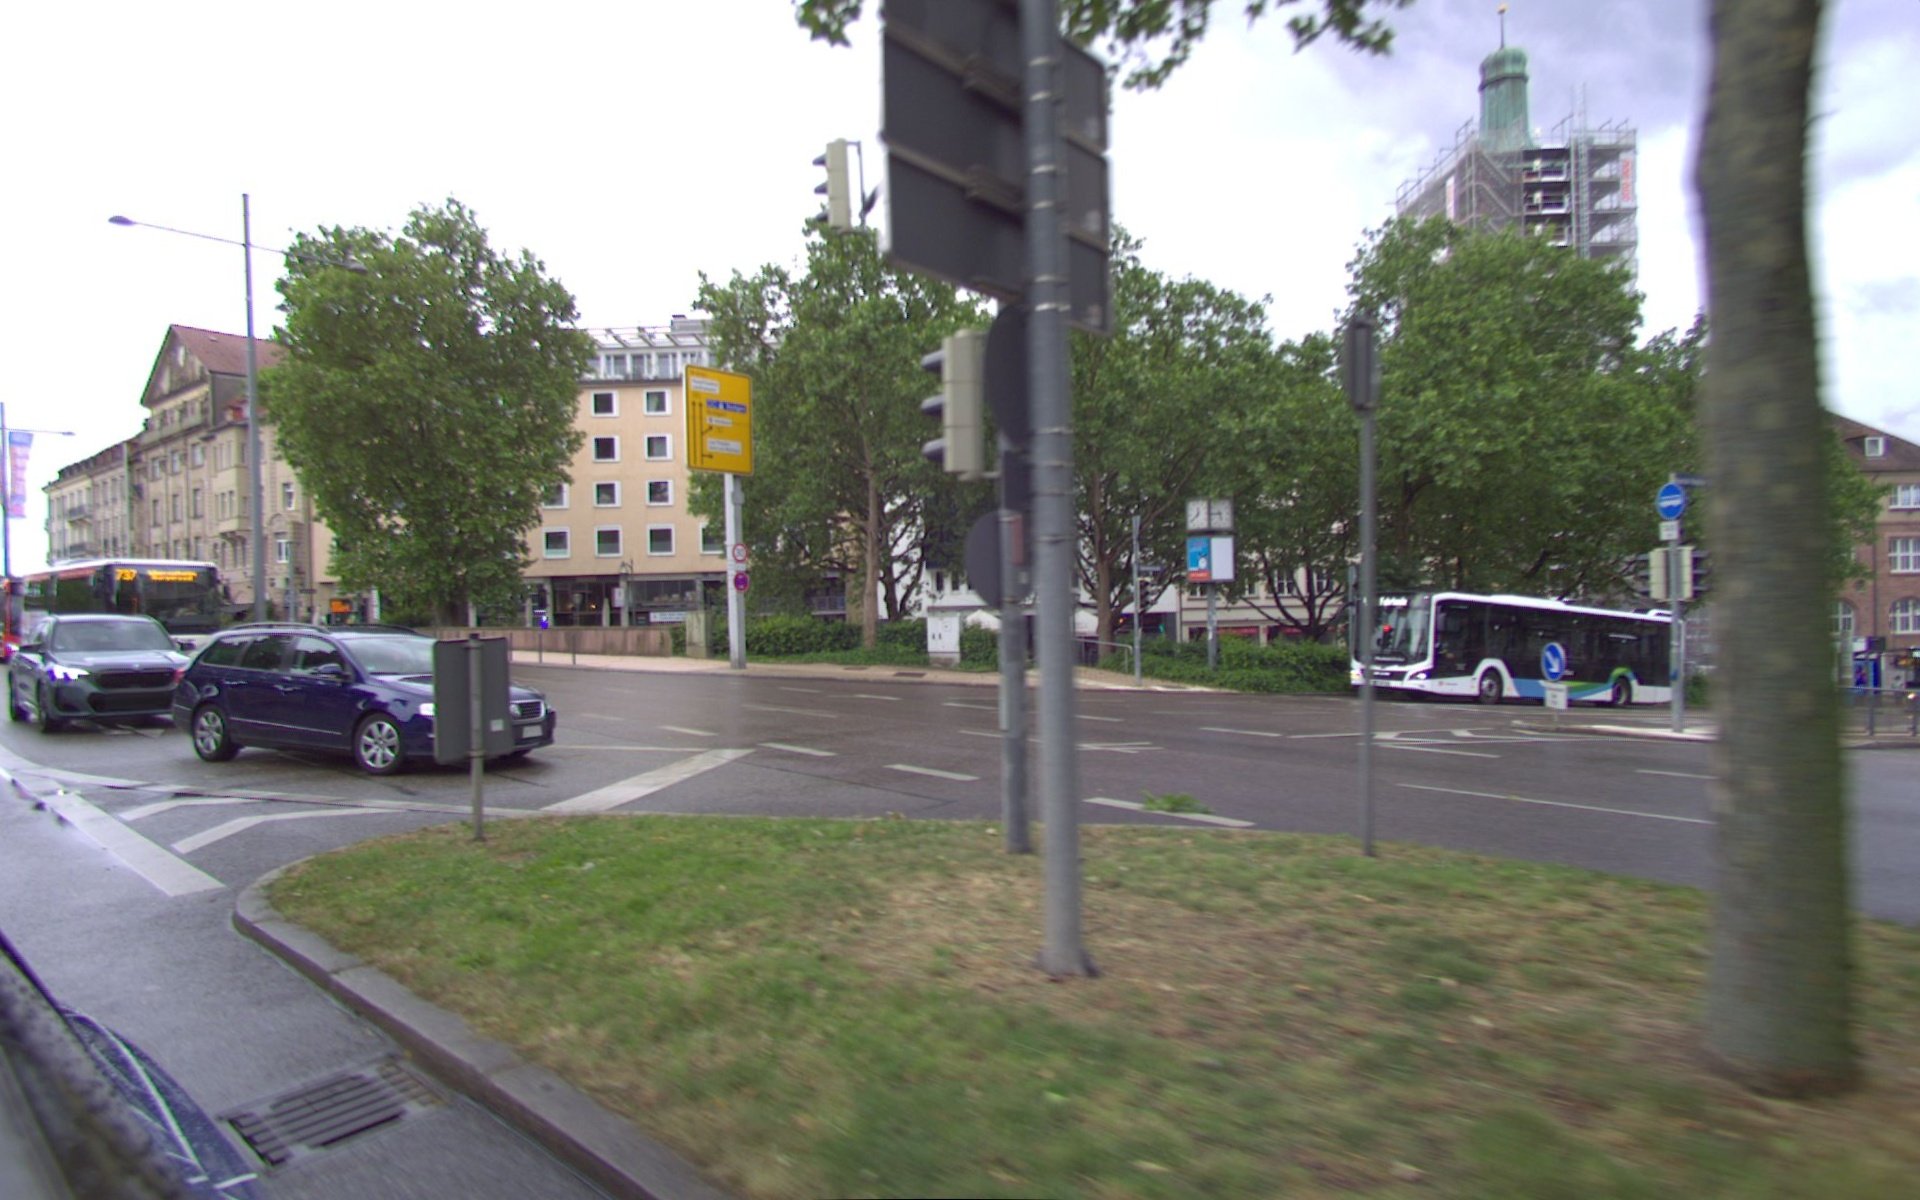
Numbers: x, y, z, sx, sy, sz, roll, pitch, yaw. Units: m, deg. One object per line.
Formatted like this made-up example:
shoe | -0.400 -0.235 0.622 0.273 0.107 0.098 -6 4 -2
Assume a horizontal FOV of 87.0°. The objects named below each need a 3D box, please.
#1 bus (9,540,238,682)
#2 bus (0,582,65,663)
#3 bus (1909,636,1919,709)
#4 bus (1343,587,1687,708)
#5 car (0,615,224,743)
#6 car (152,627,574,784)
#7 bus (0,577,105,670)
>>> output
bus | -24.978 0.430 29.839 12.547 3.465 2.926 -2 -2 40
bus | -42.184 1.020 44.478 9.905 3.270 2.781 -1 -2 40
bus | 48.121 3.199 46.849 11.769 3.219 2.898 0 -1 -31
bus | 16.478 1.501 29.553 11.766 3.042 2.898 3 -3 -28
car | -12.920 1.072 15.230 4.354 1.652 1.945 -1 -1 39
car | -6.515 1.019 11.012 4.388 1.420 1.806 -1 -1 25
bus | -35.143 0.890 38.414 8.837 3.156 2.724 -1 -1 41
